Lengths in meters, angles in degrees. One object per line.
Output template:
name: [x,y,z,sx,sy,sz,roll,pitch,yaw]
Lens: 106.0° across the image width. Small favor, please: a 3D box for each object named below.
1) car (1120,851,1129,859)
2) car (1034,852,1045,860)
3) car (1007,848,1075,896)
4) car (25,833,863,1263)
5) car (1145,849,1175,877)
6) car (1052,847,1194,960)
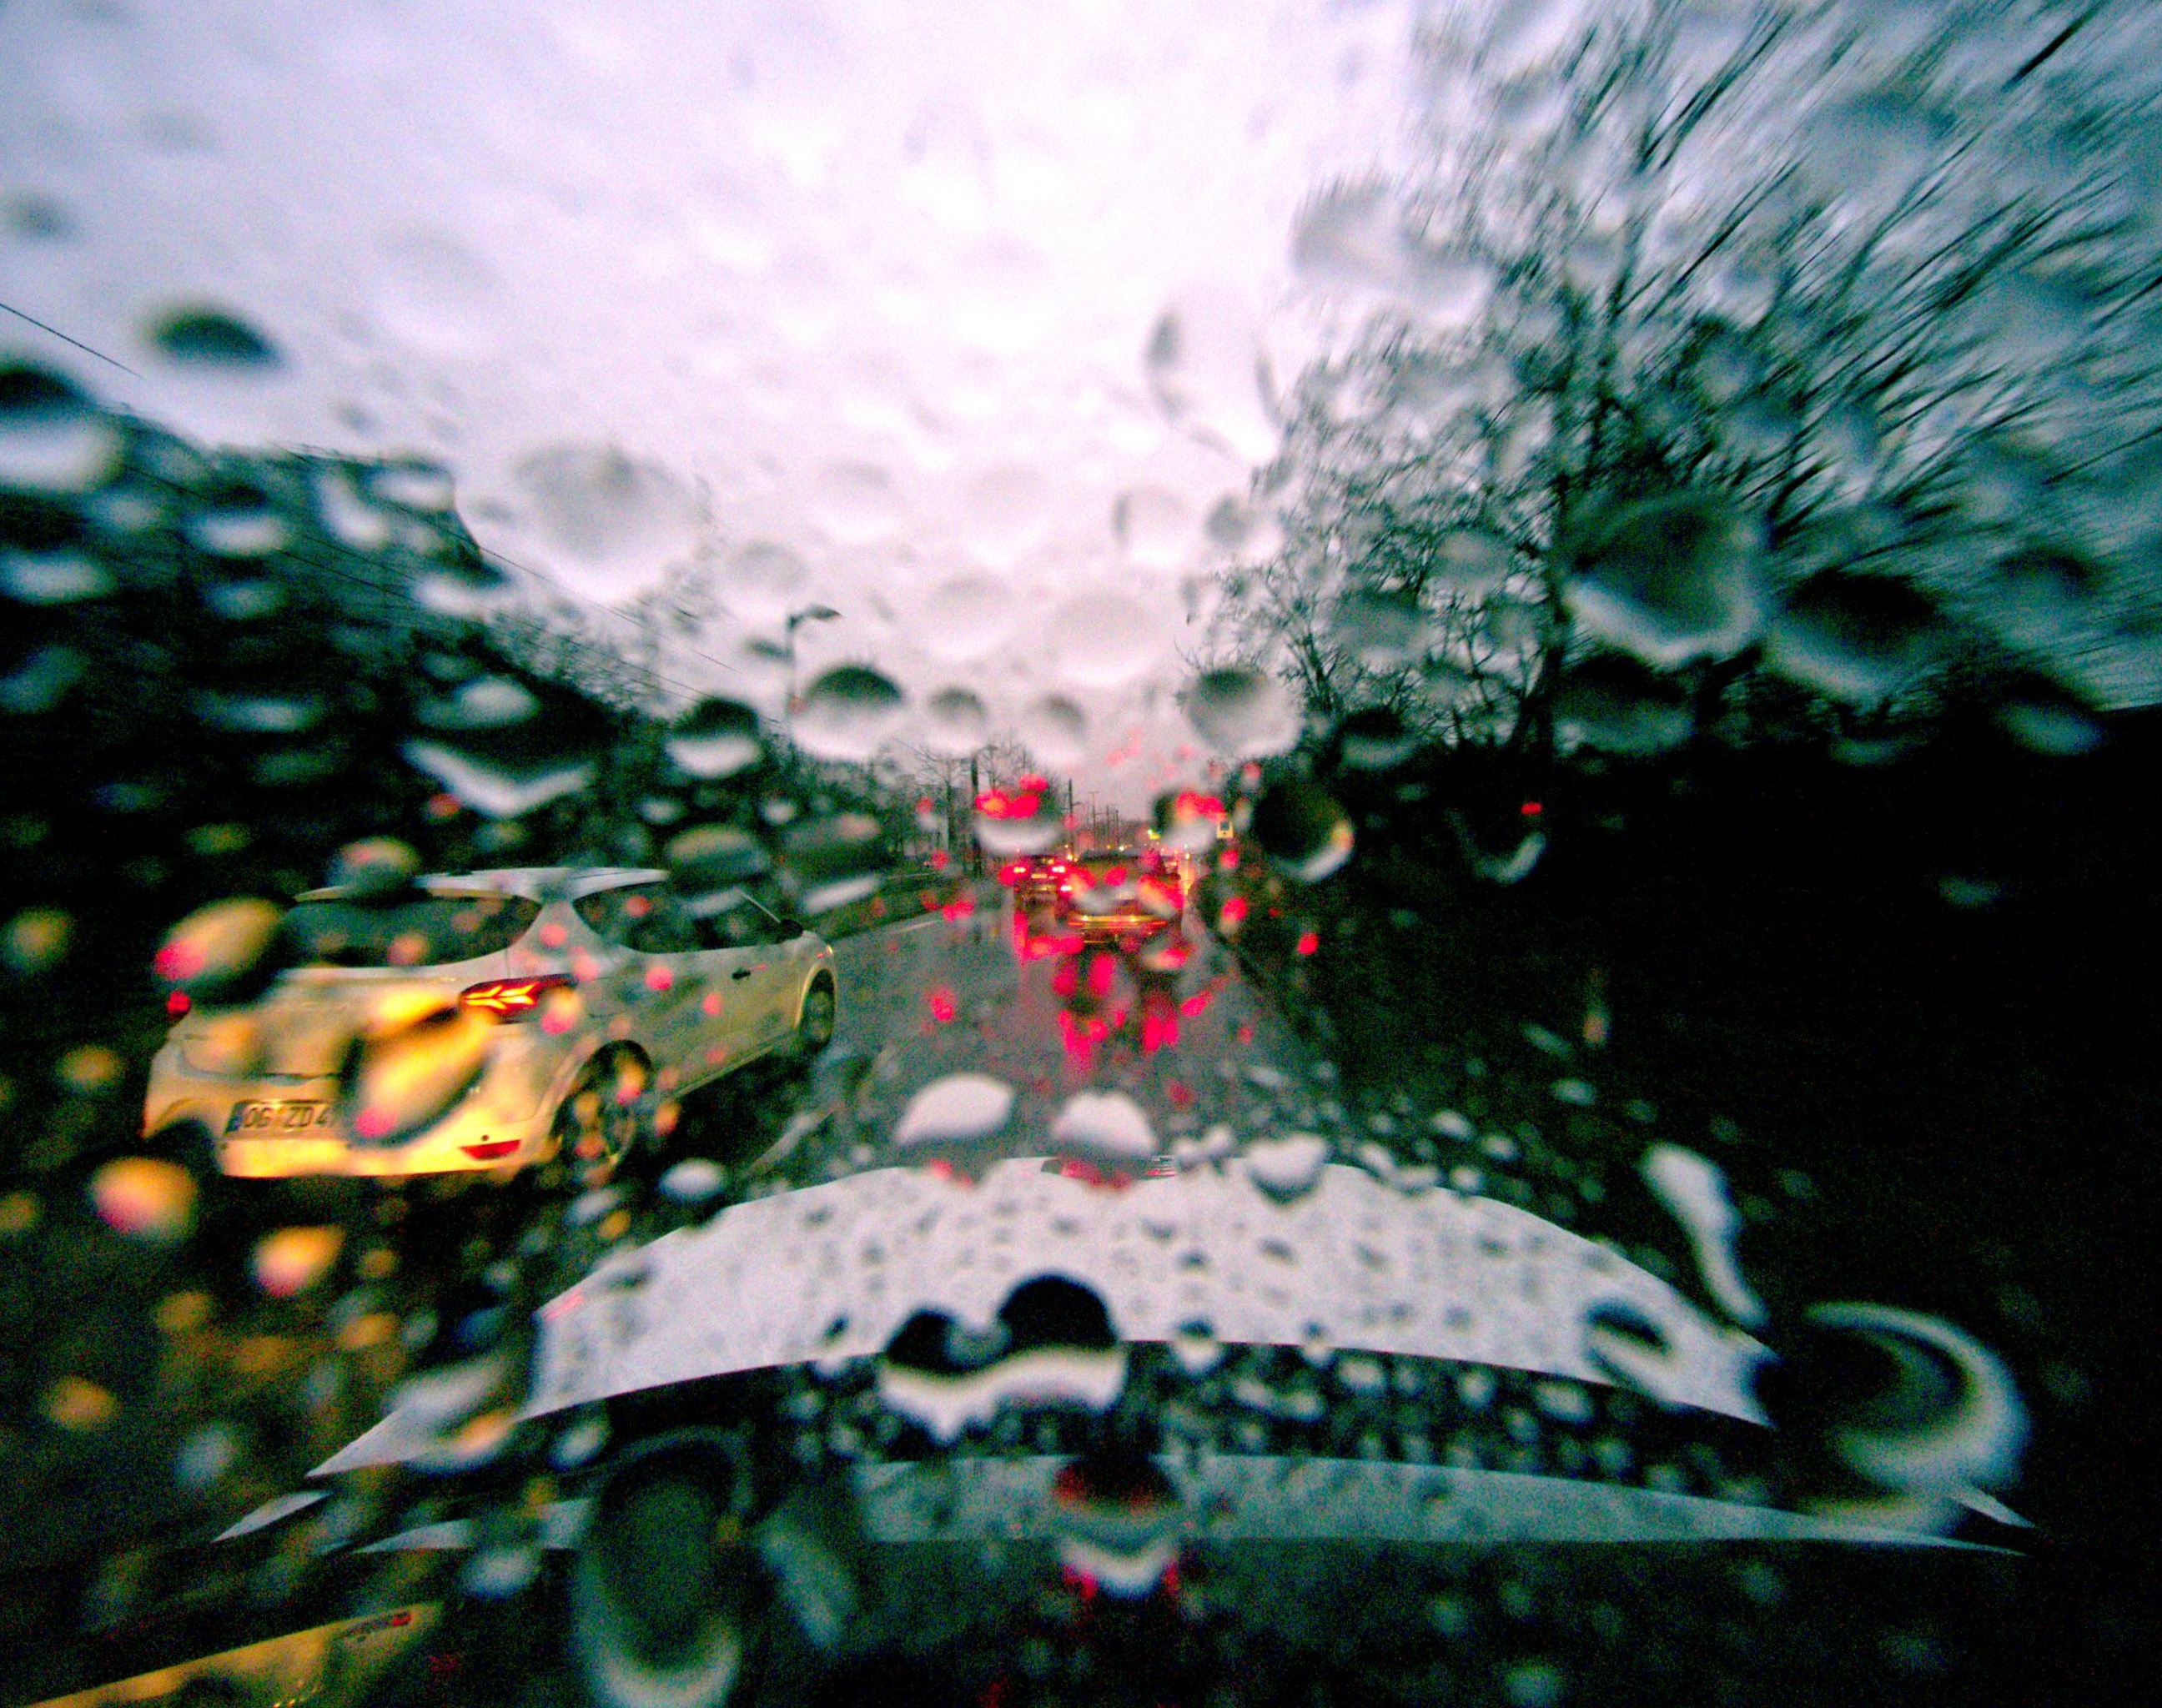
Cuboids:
car: [10.314,0.214,193.956,1.983,1.666,3.843,-2,0,6]
car: [-9.454,0.455,186.541,1.983,1.658,4.007,0,-1,6]
car: [-1.276,0.568,27.881,1.872,1.459,4.004,-2,0,3]
car: [-2.877,0.711,5.009,1.701,1.525,4.138,-2,0,3]
car: [4.818,0.529,49.844,1.701,1.558,4.001,-2,0,5]
car: [0.663,0.700,13.596,1.990,1.584,4.002,-1,0,2]
